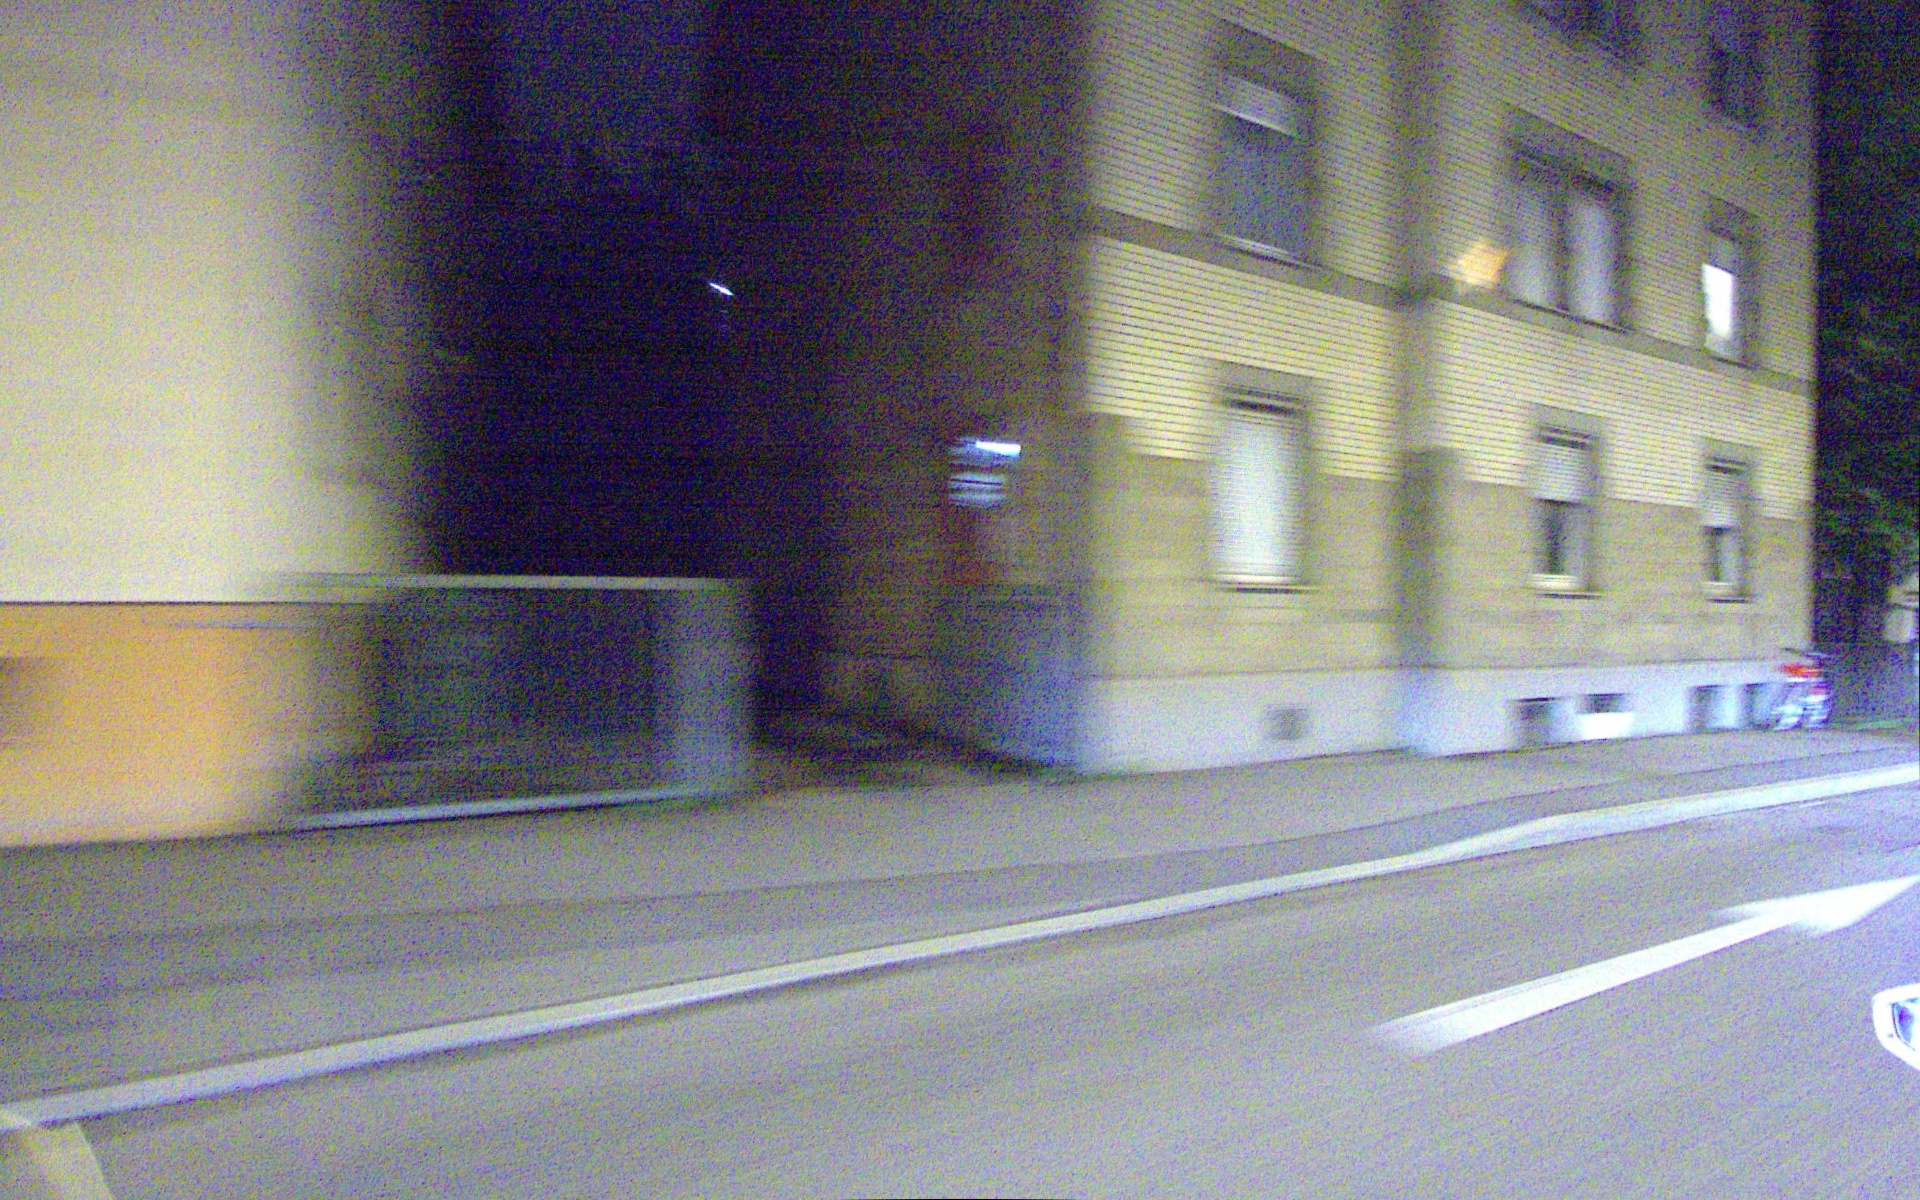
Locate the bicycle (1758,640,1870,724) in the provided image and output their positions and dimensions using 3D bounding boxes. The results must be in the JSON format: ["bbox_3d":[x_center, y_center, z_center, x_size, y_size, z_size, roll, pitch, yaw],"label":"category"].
[{"bbox_3d":[11.622,1.097,13.657,1.701,1.065,0.616,2,-1,-30],"label":"bicycle"}]
